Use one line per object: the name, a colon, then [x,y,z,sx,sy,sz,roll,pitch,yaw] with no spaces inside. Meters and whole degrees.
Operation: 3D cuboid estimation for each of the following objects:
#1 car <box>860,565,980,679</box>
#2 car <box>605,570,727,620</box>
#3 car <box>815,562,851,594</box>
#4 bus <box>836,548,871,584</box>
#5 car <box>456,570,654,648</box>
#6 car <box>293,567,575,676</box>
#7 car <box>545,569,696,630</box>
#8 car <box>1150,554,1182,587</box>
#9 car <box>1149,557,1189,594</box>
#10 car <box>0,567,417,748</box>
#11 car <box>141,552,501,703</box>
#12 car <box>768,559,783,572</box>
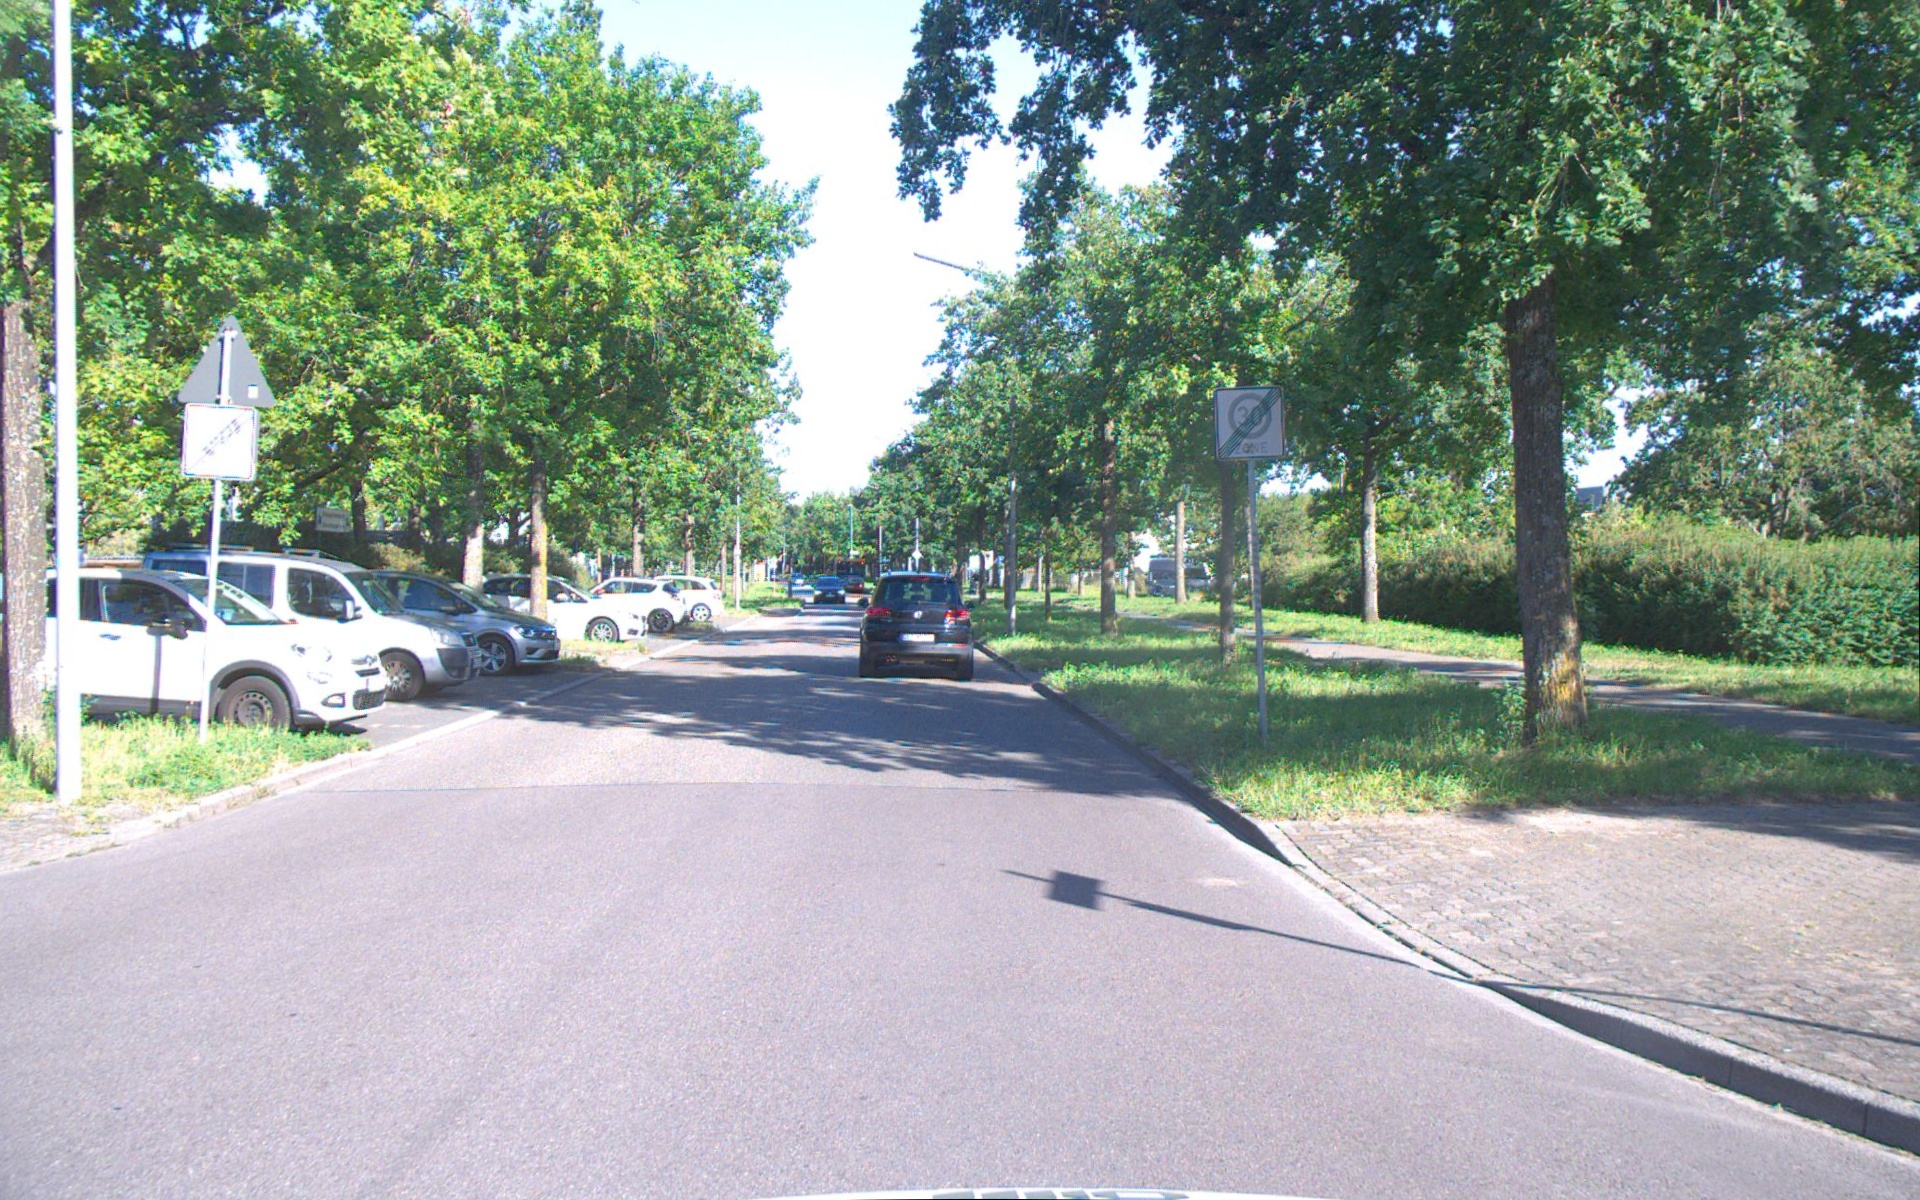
car: [-0.719,0.292,27.196,1.801,1.665,3.956,1,2,-3]
car: [-10.205,-0.188,57.572,3.935,1.676,1.811,0,1,-2]
car: [-7.034,-1.212,91.808,1.815,1.722,3.955,0,1,-2]
bus: [-9.360,-2.988,145.975,2.869,3.056,5.736,0,1,-1]
car: [-8.909,0.178,36.632,3.935,1.676,1.811,0,1,-2]
car: [-8.367,0.313,26.591,3.935,1.676,1.896,0,1,-2]
car: [-9.609,-0.029,47.035,3.935,1.676,1.811,0,1,-2]
car: [13.030,-1.846,104.669,1.951,2.048,4.003,0,1,6]
car: [11.884,-1.413,94.251,2.011,2.048,4.002,0,1,4]
car: [-7.714,0.512,16.217,4.156,1.651,1.896,0,1,-2]
car: [-8.217,0.316,21.564,3.935,1.871,1.896,0,1,-2]
car: [-25.847,-4.835,231.761,1.780,1.806,3.775,0,1,-3]
